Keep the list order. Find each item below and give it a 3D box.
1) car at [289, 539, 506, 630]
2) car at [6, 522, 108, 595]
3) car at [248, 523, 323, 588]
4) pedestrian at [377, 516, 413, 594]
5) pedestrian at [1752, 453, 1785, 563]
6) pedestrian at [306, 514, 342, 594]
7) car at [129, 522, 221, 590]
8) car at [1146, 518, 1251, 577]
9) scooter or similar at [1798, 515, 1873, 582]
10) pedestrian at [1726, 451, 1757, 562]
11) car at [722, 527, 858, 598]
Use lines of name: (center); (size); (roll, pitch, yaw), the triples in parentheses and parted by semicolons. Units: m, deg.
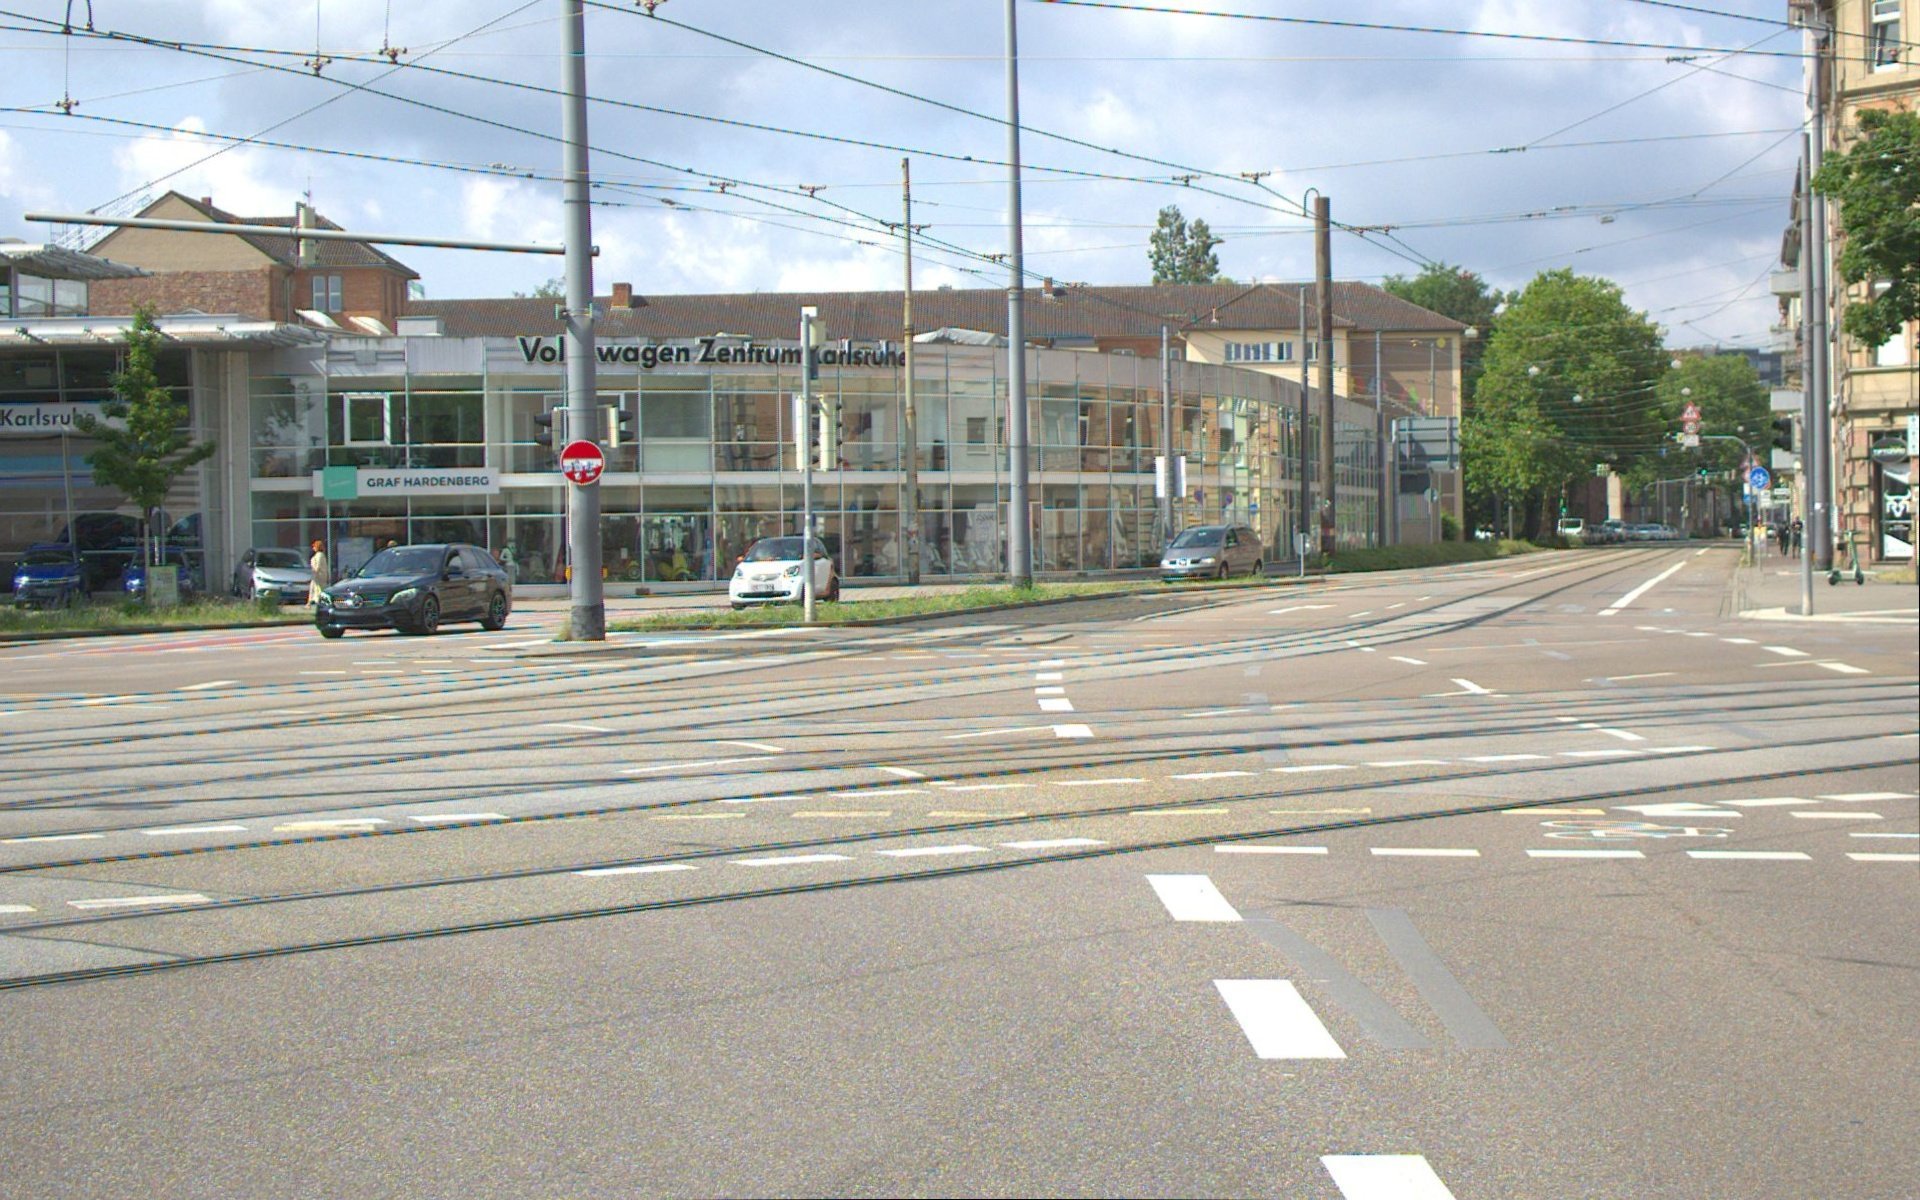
car: (-8.947, -0.268, 55.014); (1.866, 1.371, 3.937); (0, 1, 17)
car: (-23.808, -1.084, 90.771); (1.993, 1.831, 4.001); (-2, 1, -7)
car: (-18.118, -1.191, 92.324); (1.928, 1.678, 4.001); (1, 0, -11)
pedestrian: (-14.705, -1.180, 89.433); (0.869, 2.007, 0.704); (-1, 1, -10)
pedestrian: (22.743, -2.593, 96.662); (0.725, 3.065, 0.887); (1, 0, 22)
pedestrian: (-16.046, -1.158, 86.750); (0.807, 2.007, 0.808); (-1, 1, -6)
car: (-20.610, -1.143, 90.346); (1.993, 1.720, 4.001); (1, 0, -8)
car: (6.599, -1.460, 94.814); (1.995, 1.568, 3.733); (0, 1, 19)
scooter or similar: (18.538, -1.076, 72.823); (1.177, 1.381, 2.803); (1, 0, 7)
pedestrian: (22.036, -2.640, 96.969); (0.666, 3.110, 0.887); (1, 0, 22)
car: (-3.616, -0.795, 73.727); (1.687, 1.465, 3.653); (1, 0, 19)
